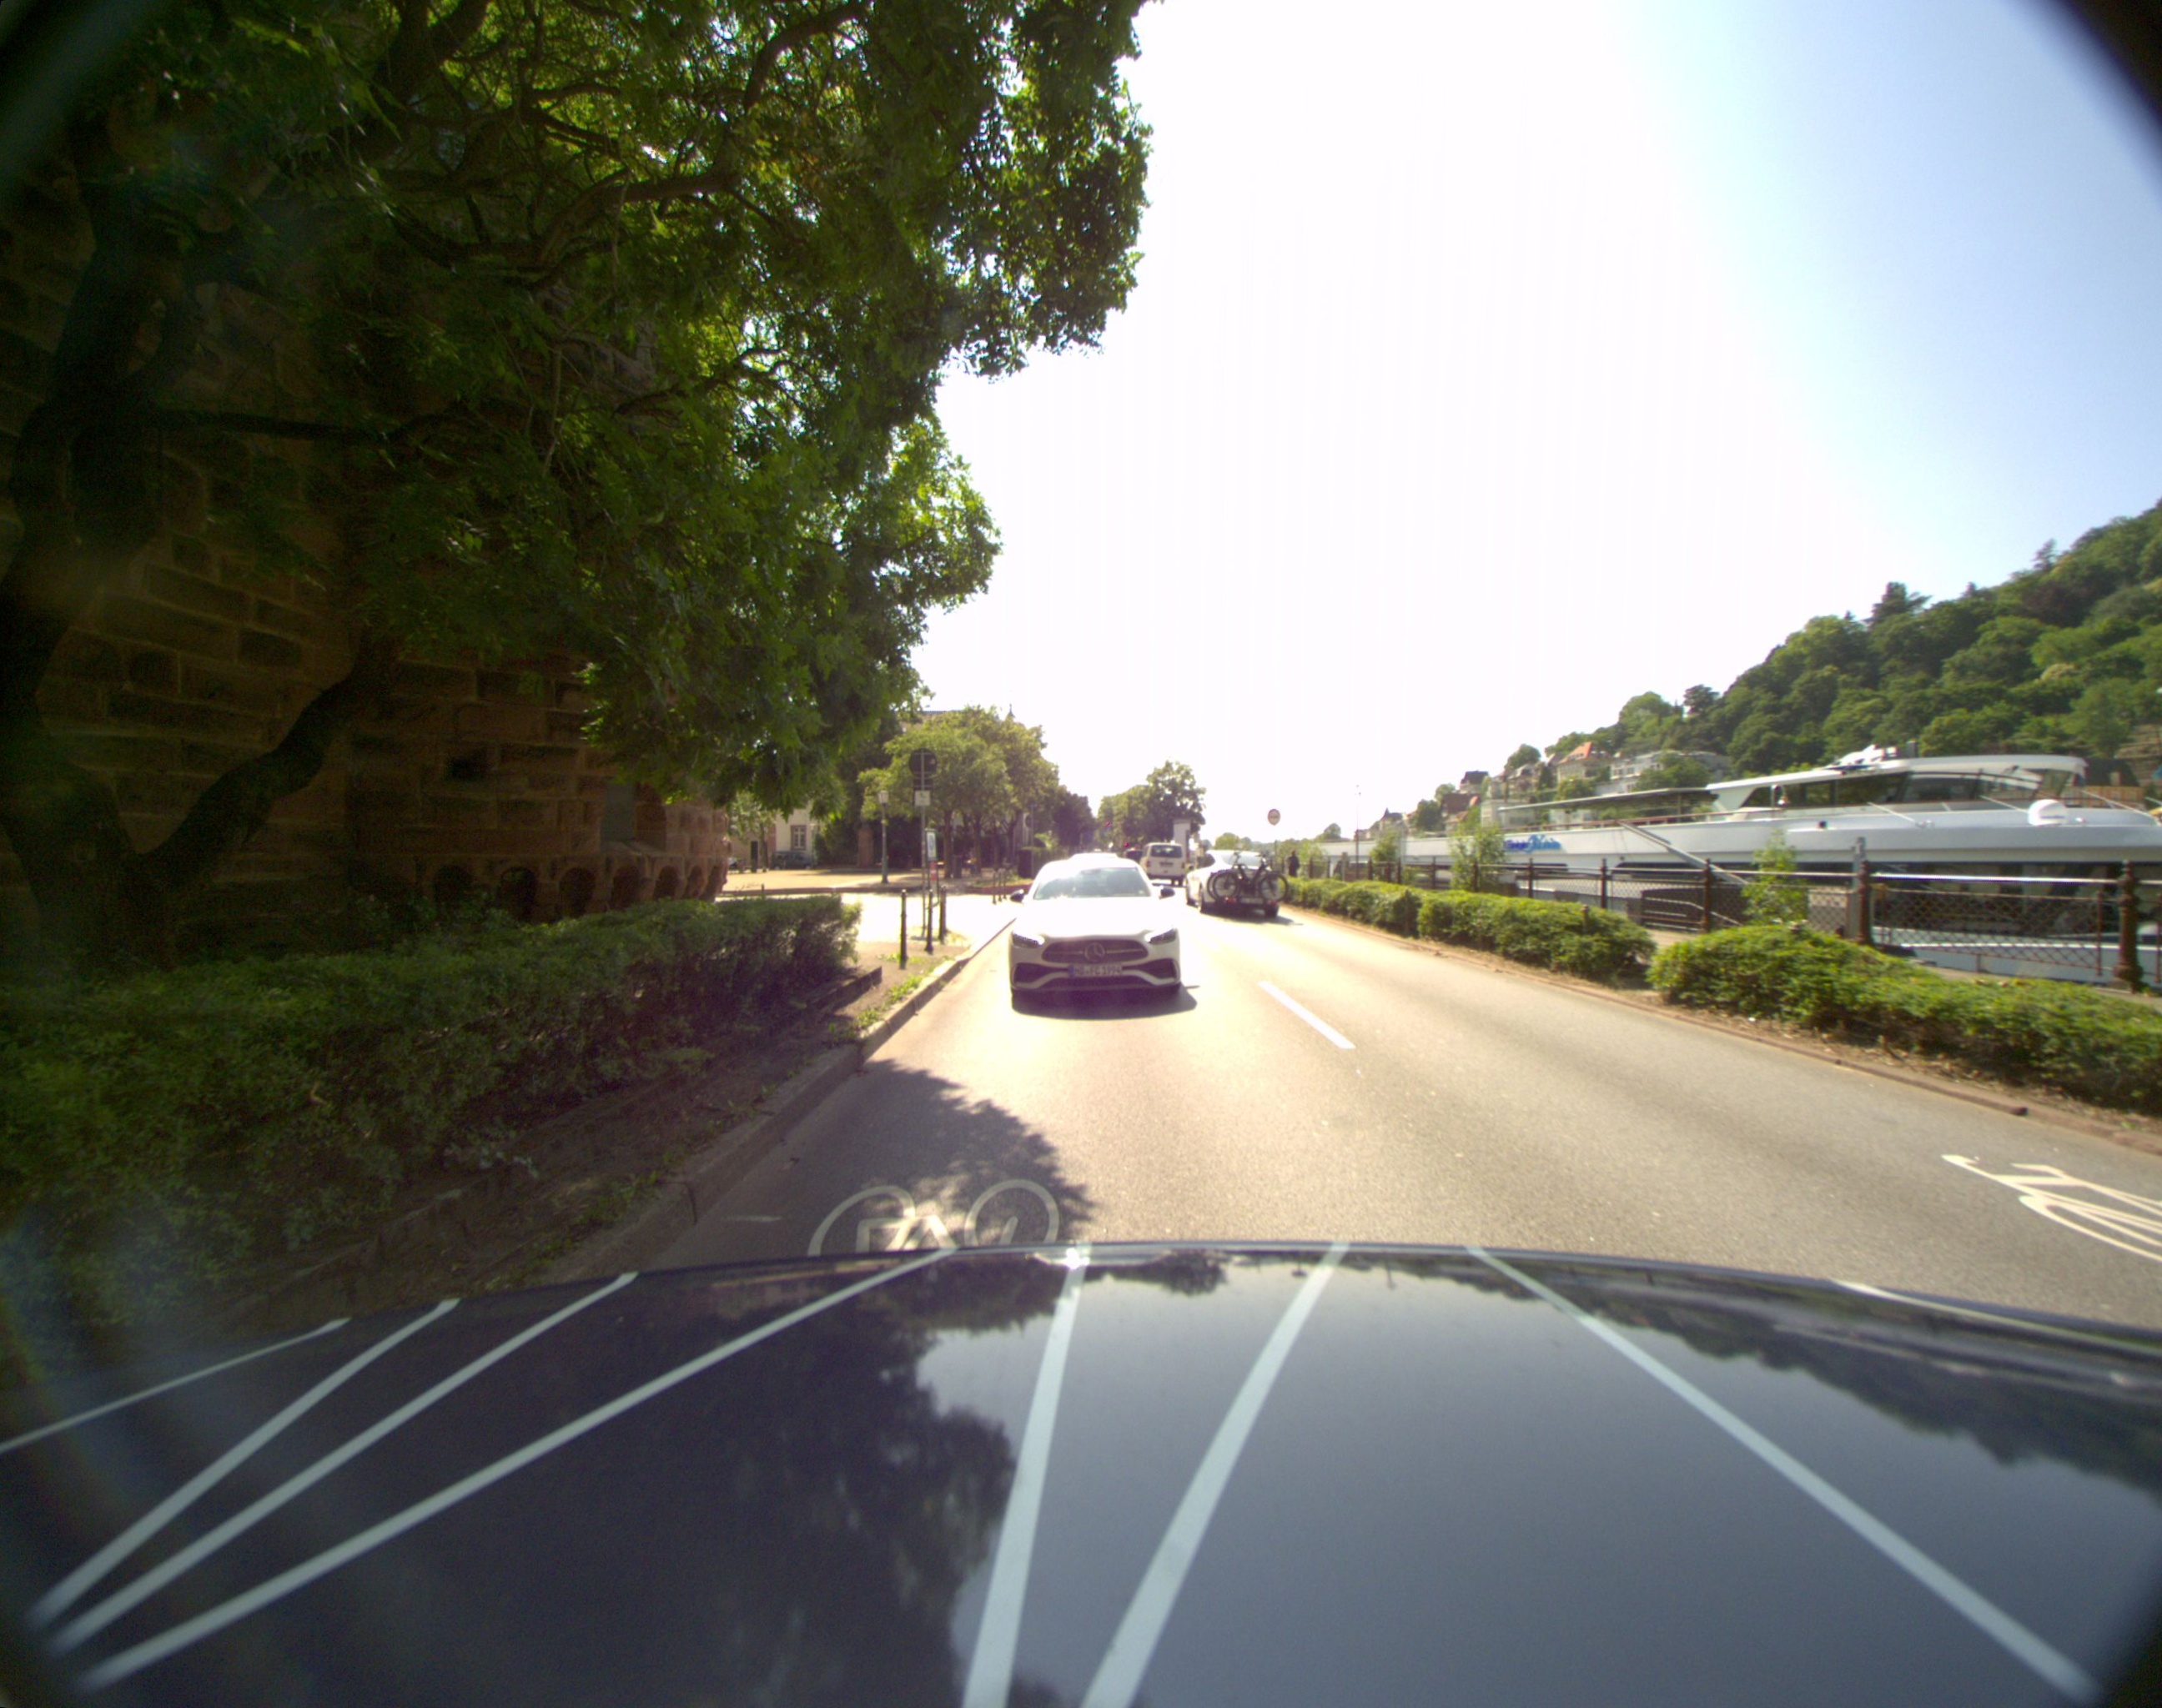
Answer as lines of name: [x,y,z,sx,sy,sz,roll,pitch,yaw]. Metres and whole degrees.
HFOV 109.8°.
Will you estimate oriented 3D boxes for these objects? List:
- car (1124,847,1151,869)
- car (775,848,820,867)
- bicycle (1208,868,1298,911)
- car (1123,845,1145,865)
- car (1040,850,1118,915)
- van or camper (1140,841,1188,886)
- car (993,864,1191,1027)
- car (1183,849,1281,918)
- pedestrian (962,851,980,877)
car: [4.320,0.322,58.498,1.826,1.604,3.960,1,0,1]
car: [-24.427,0.312,65.623,3.237,1.572,1.752,1,1,-1]
bicycle: [3.961,0.808,17.661,1.873,0.921,0.955,1,1,2]
car: [5.434,0.096,77.900,1.998,2.002,4.000,1,0,0]
car: [-0.017,0.682,20.230,1.854,1.543,3.848,1,1,1]
van or camper: [3.931,0.413,36.597,1.922,1.976,4.000,1,1,2]
car: [0.122,0.898,9.364,1.829,1.418,4.358,-2,0,0]
car: [3.880,0.697,20.110,1.826,1.603,3.960,1,0,1]
pedestrian: [-5.075,0.454,35.077,0.632,1.186,0.747,-2,1,3]
